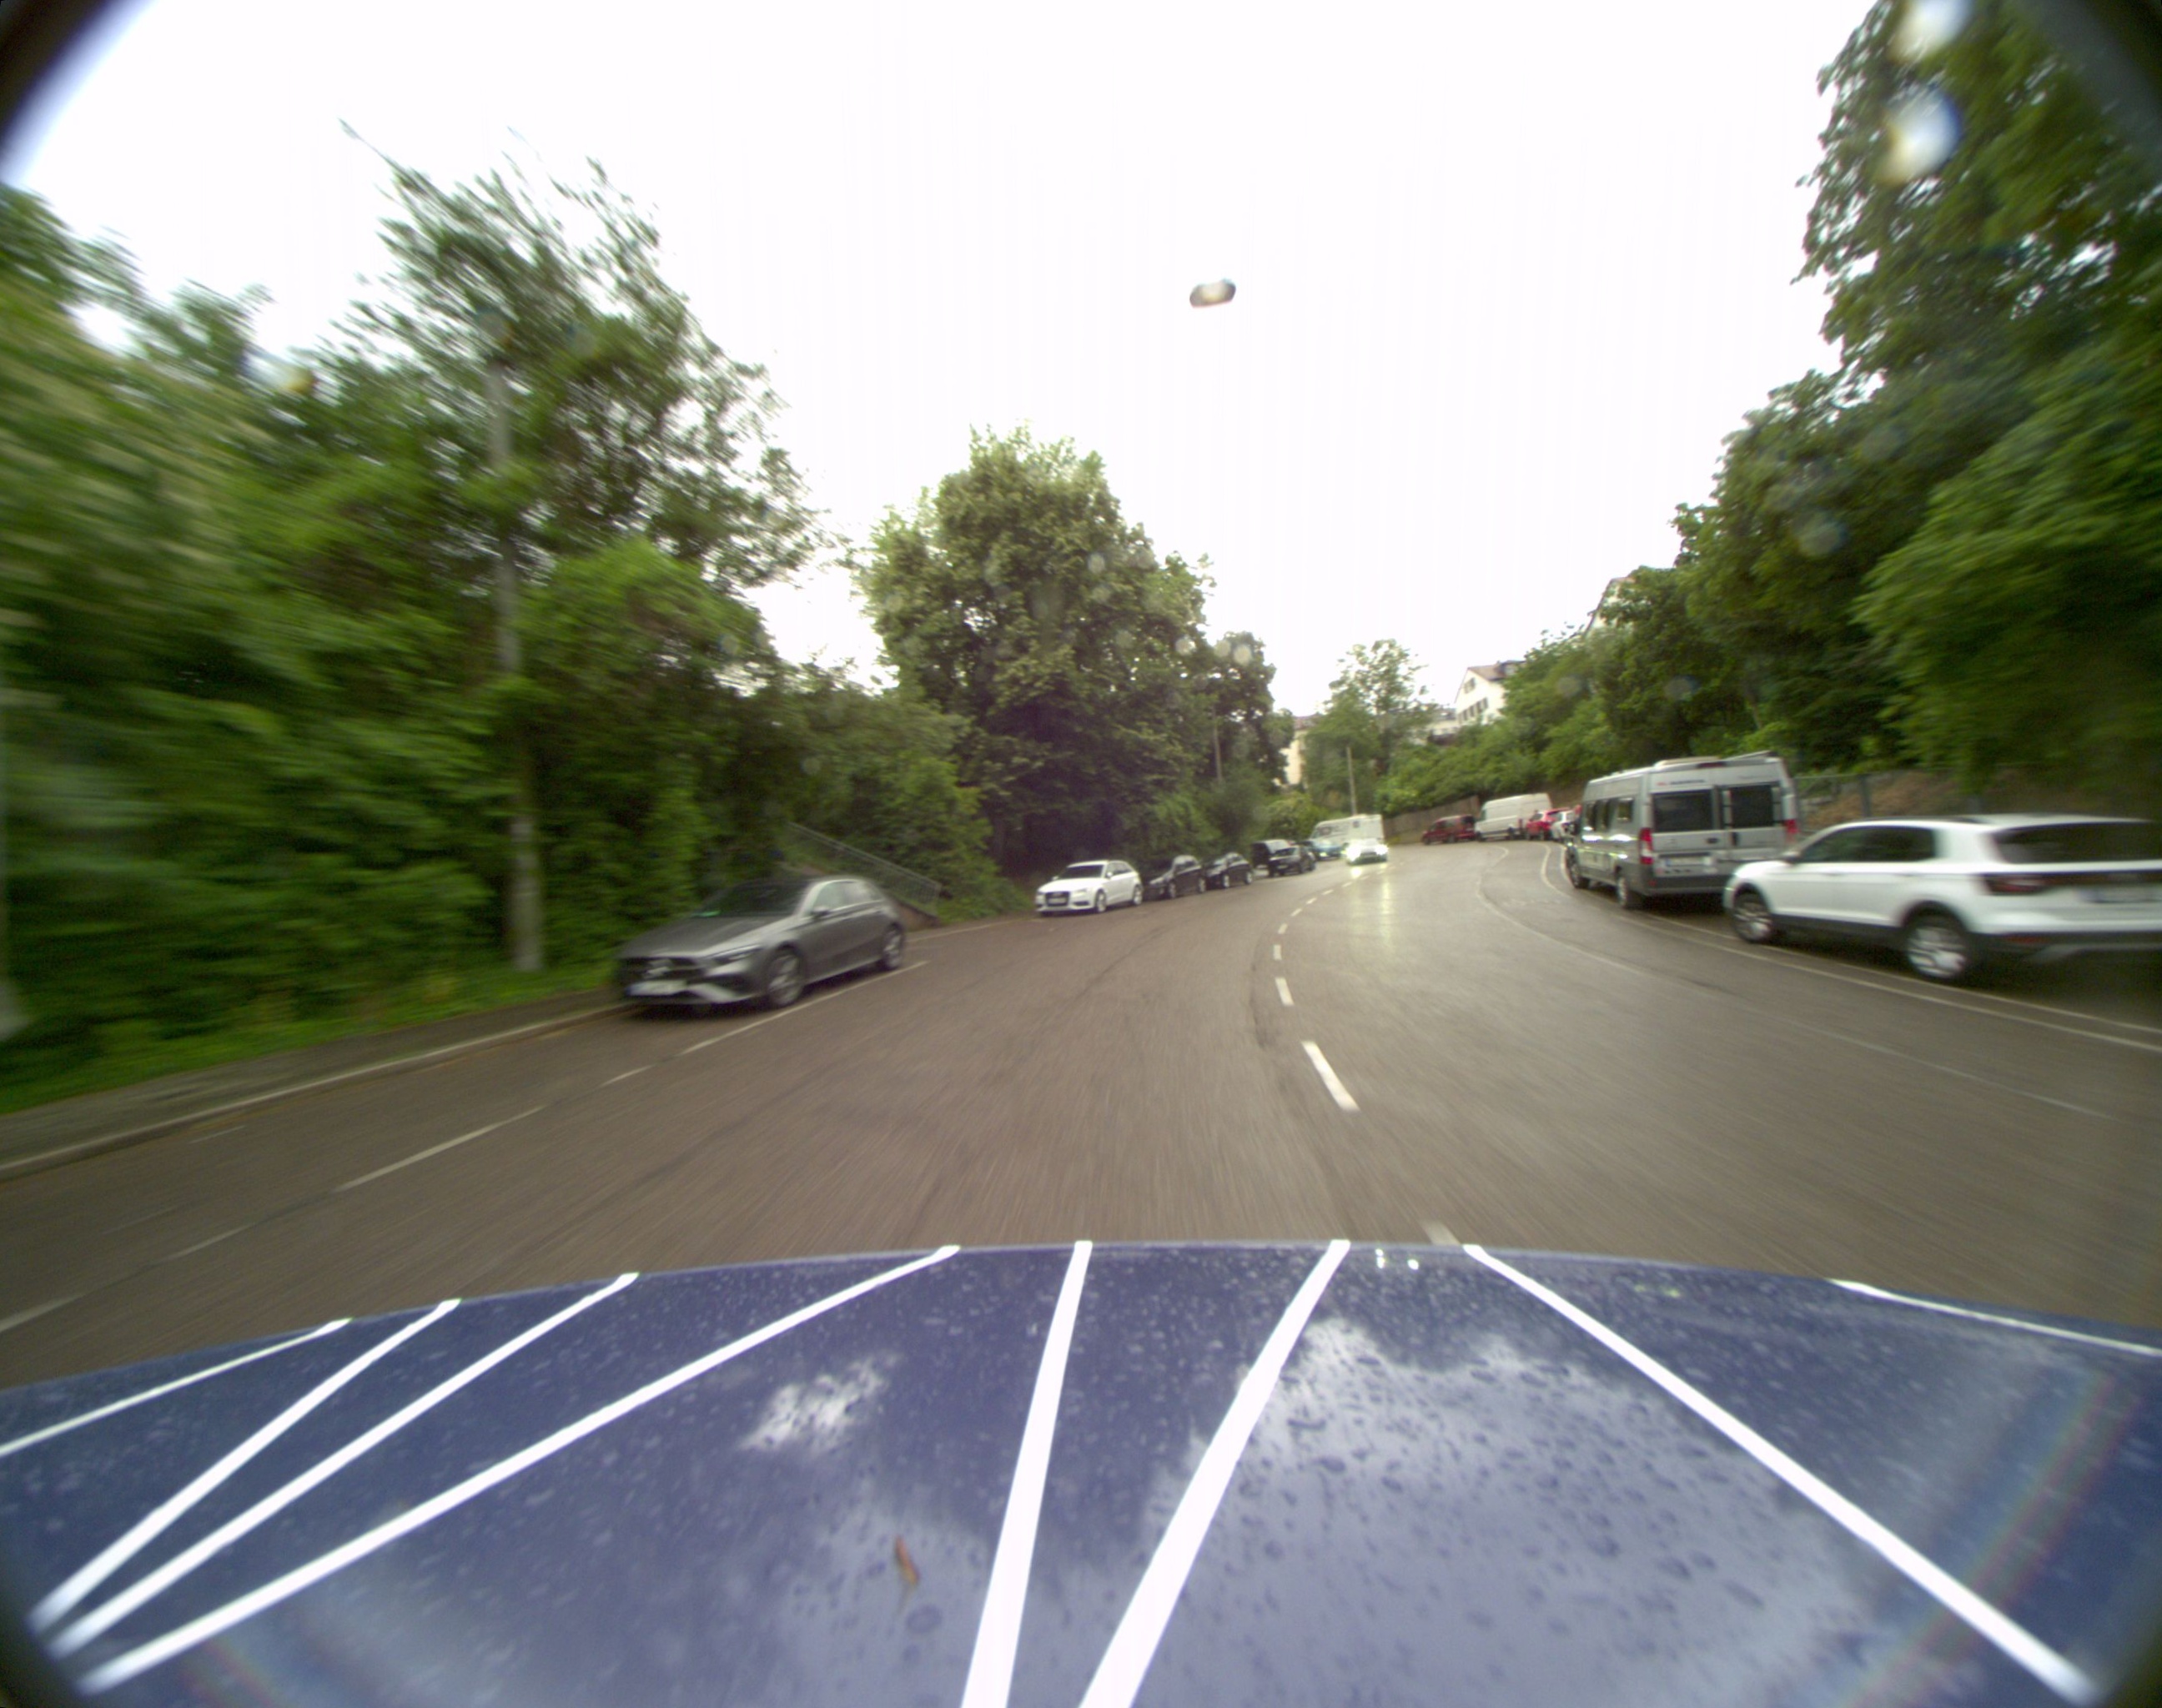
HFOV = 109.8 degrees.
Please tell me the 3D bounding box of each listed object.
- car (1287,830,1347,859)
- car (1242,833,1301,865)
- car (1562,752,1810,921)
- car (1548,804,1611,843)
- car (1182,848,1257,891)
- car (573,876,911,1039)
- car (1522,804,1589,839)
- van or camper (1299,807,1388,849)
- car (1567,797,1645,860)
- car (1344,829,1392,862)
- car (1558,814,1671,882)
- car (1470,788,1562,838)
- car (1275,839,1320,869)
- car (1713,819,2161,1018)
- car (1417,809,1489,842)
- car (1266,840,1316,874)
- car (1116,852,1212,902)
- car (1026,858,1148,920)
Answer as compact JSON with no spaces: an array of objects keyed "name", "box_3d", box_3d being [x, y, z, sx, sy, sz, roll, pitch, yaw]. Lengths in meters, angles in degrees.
[{"name":"car","box_3d":[16.964,-0.648,54.878,2.000,1.660,4.526,-9,1,-12]},{"name":"car","box_3d":[13.258,-0.290,53.265,2.000,1.876,5.033,-8,1,-9]},{"name":"car","box_3d":[11.243,-0.424,14.780,2.076,2.536,6.353,-3,3,23]},{"name":"car","box_3d":[23.194,-1.413,35.466,1.740,1.470,4.204,-8,-1,26]},{"name":"car","box_3d":[5.790,0.604,31.457,1.591,1.381,3.828,-8,-2,33]},{"name":"car","box_3d":[-3.839,1.097,9.535,1.723,1.435,4.128,-3,0,11]},{"name":"car","box_3d":[25.180,-1.700,40.507,1.778,1.576,4.437,-7,0,17]},{"name":"van or camper","box_3d":[22.784,-2.223,66.453,2.461,2.950,7.512,-6,1,-27]},{"name":"car","box_3d":[17.435,-0.897,25.390,1.752,1.758,4.142,-5,2,31]},{"name":"car","box_3d":[15.894,-0.479,42.326,1.897,1.530,4.504,-7,-1,15]},{"name":"car","box_3d":[14.384,-0.231,20.741,1.995,1.610,4.403,-1,3,28]},{"name":"car","box_3d":[26.592,-2.386,46.782,2.039,2.516,6.825,-7,0,5]},{"name":"car","box_3d":[13.262,-0.054,46.797,1.905,1.479,4.877,-8,0,9]},{"name":"car","box_3d":[9.063,0.466,8.141,1.807,1.574,4.027,-2,2,11]},{"name":"car","box_3d":[26.881,-2.038,55.128,2.000,1.865,4.818,-7,0,-11]},{"name":"car","box_3d":[11.321,0.144,40.788,1.629,1.479,3.750,-8,-1,27]},{"name":"car","box_3d":[2.952,0.740,26.294,1.661,1.415,3.975,-6,-1,31]},{"name":"car","box_3d":[0.280,0.937,21.684,1.757,1.392,4.102,-5,-1,26]}]
